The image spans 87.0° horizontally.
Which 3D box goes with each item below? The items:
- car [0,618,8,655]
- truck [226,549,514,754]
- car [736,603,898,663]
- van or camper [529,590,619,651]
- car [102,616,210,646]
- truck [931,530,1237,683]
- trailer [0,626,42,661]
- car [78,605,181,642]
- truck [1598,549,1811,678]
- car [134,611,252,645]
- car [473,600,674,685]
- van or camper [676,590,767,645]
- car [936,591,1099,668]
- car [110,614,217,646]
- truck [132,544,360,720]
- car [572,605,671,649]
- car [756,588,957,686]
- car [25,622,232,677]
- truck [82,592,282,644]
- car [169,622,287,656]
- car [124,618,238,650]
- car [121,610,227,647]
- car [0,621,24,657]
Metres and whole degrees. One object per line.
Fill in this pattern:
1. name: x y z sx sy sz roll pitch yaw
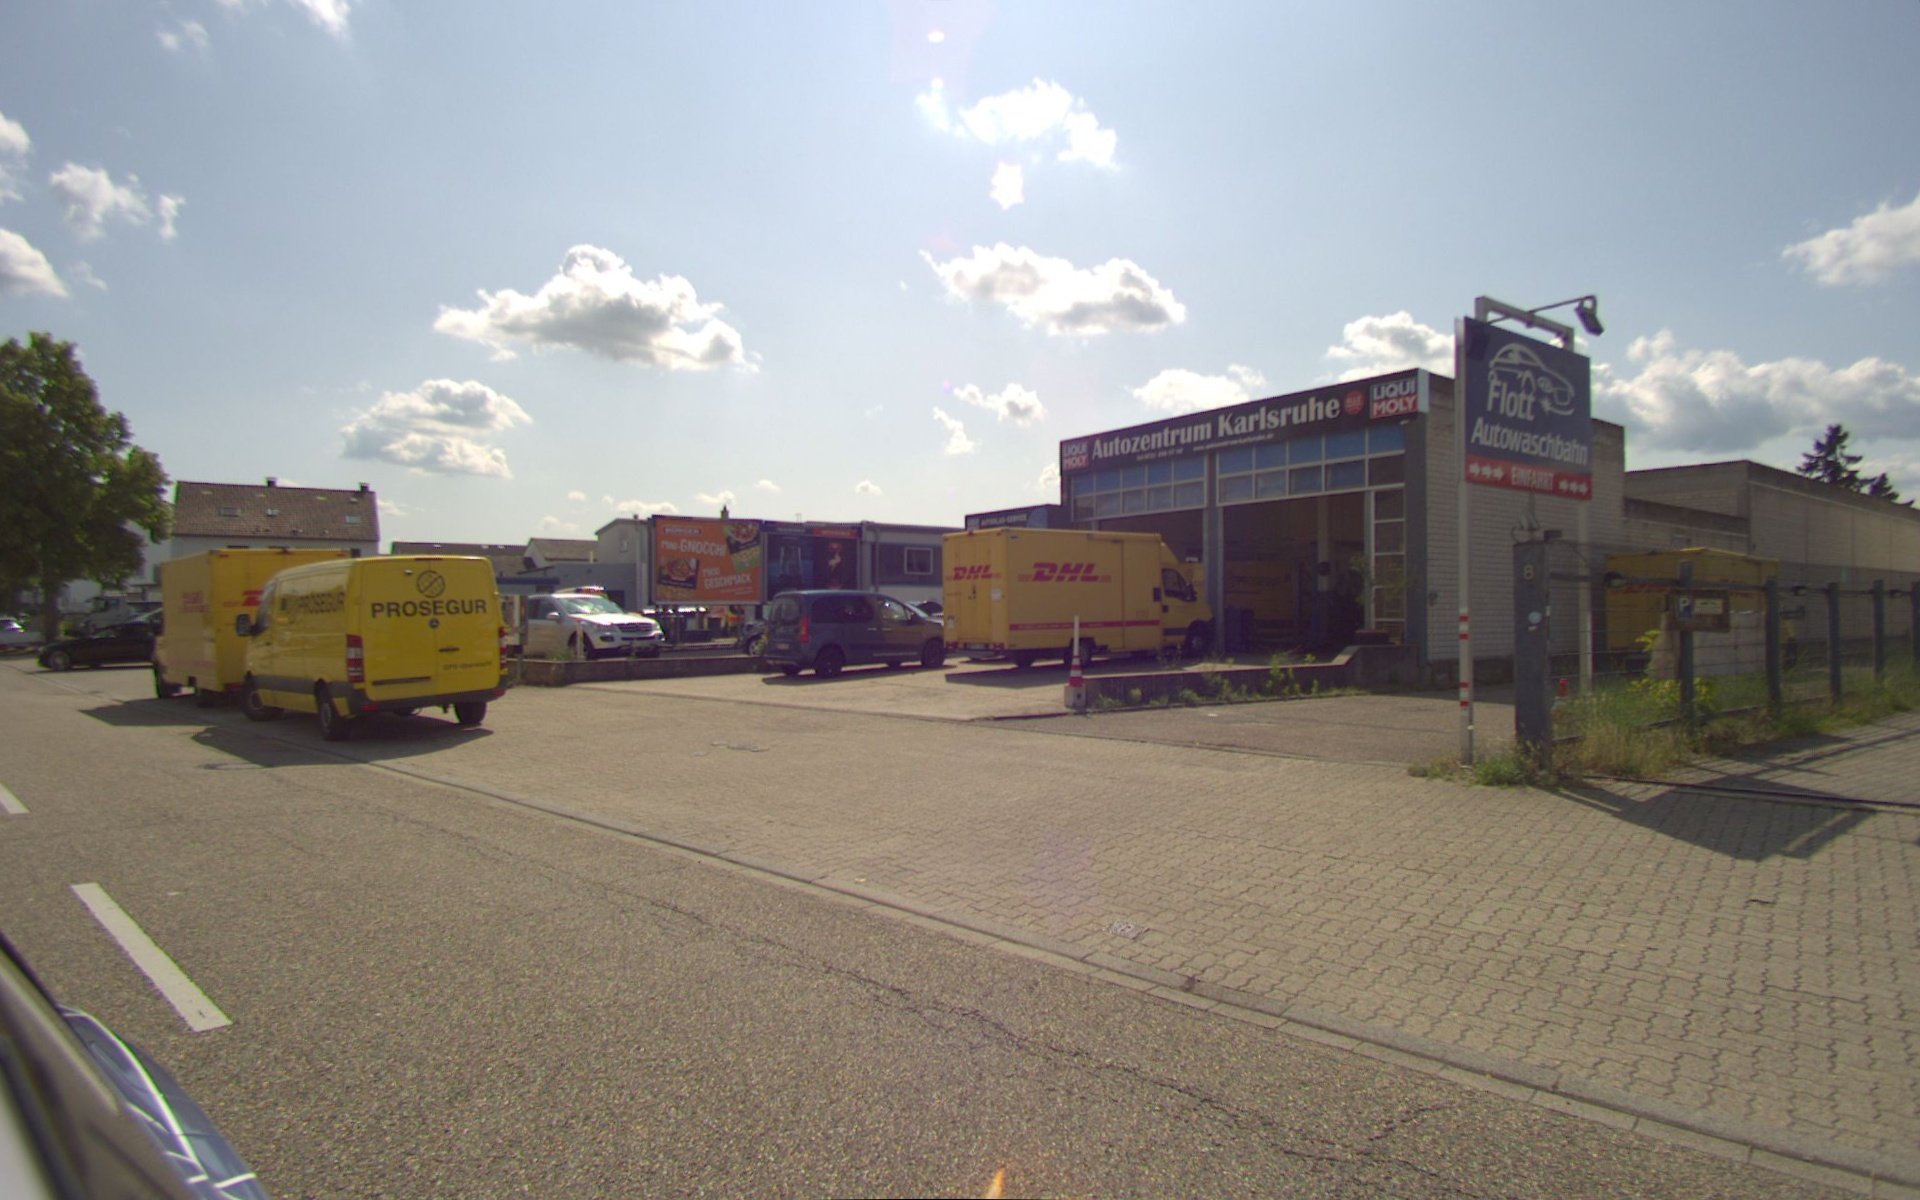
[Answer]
1. car: -46.767 1.766 48.149 4.398 1.713 1.676 -1 1 41
2. truck: -8.820 0.659 14.803 6.064 2.432 1.972 -1 -1 43
3. car: -3.773 0.871 26.579 3.990 1.298 1.659 -5 -3 29
4. van or camper: -17.120 0.933 44.720 1.969 2.494 5.369 0 -2 -41
5. car: -44.283 1.713 55.808 1.827 1.594 4.475 -2 -3 43
6. truck: 2.821 0.031 21.909 6.511 2.871 2.534 -2 0 -36
7. trailer: -39.347 1.776 41.696 4.506 1.299 1.743 -1 2 42
8. car: -52.810 1.450 64.519 4.934 2.248 2.005 0 0 -36
9. truck: 18.333 0.354 24.794 6.331 2.786 2.330 1 -2 -35
10. car: -35.450 1.266 46.844 1.828 1.501 4.098 0 -1 44
11. car: -8.704 0.905 22.656 4.693 1.718 1.814 -1 -1 33
12. van or camper: -11.555 0.866 48.717 1.969 2.494 5.369 0 -2 -41
13. car: 1.450 0.705 24.840 3.793 1.744 1.736 1 -1 -38
14. car: -42.577 1.588 54.161 1.826 1.627 4.250 -2 -2 40
15. truck: -14.093 0.549 19.722 7.069 2.878 2.196 -1 0 43
16. car: -10.801 0.885 32.147 1.867 1.300 3.757 0 -2 -37
17. car: -2.190 0.734 21.829 3.879 1.823 1.859 -2 1 -39
18. car: -25.688 1.498 31.456 4.516 1.405 2.006 -2 1 -14
19. truck: -46.090 1.107 60.241 9.150 2.878 2.722 1 -2 -45
20. car: -31.924 1.660 44.184 3.979 1.385 1.829 1 -1 -44
21. car: -37.288 1.597 48.493 1.828 1.441 4.098 0 -1 44
22. car: -40.424 1.445 52.110 1.828 1.802 4.098 0 -1 44
23. car: -42.860 1.725 44.749 4.237 1.539 1.813 -1 1 43
